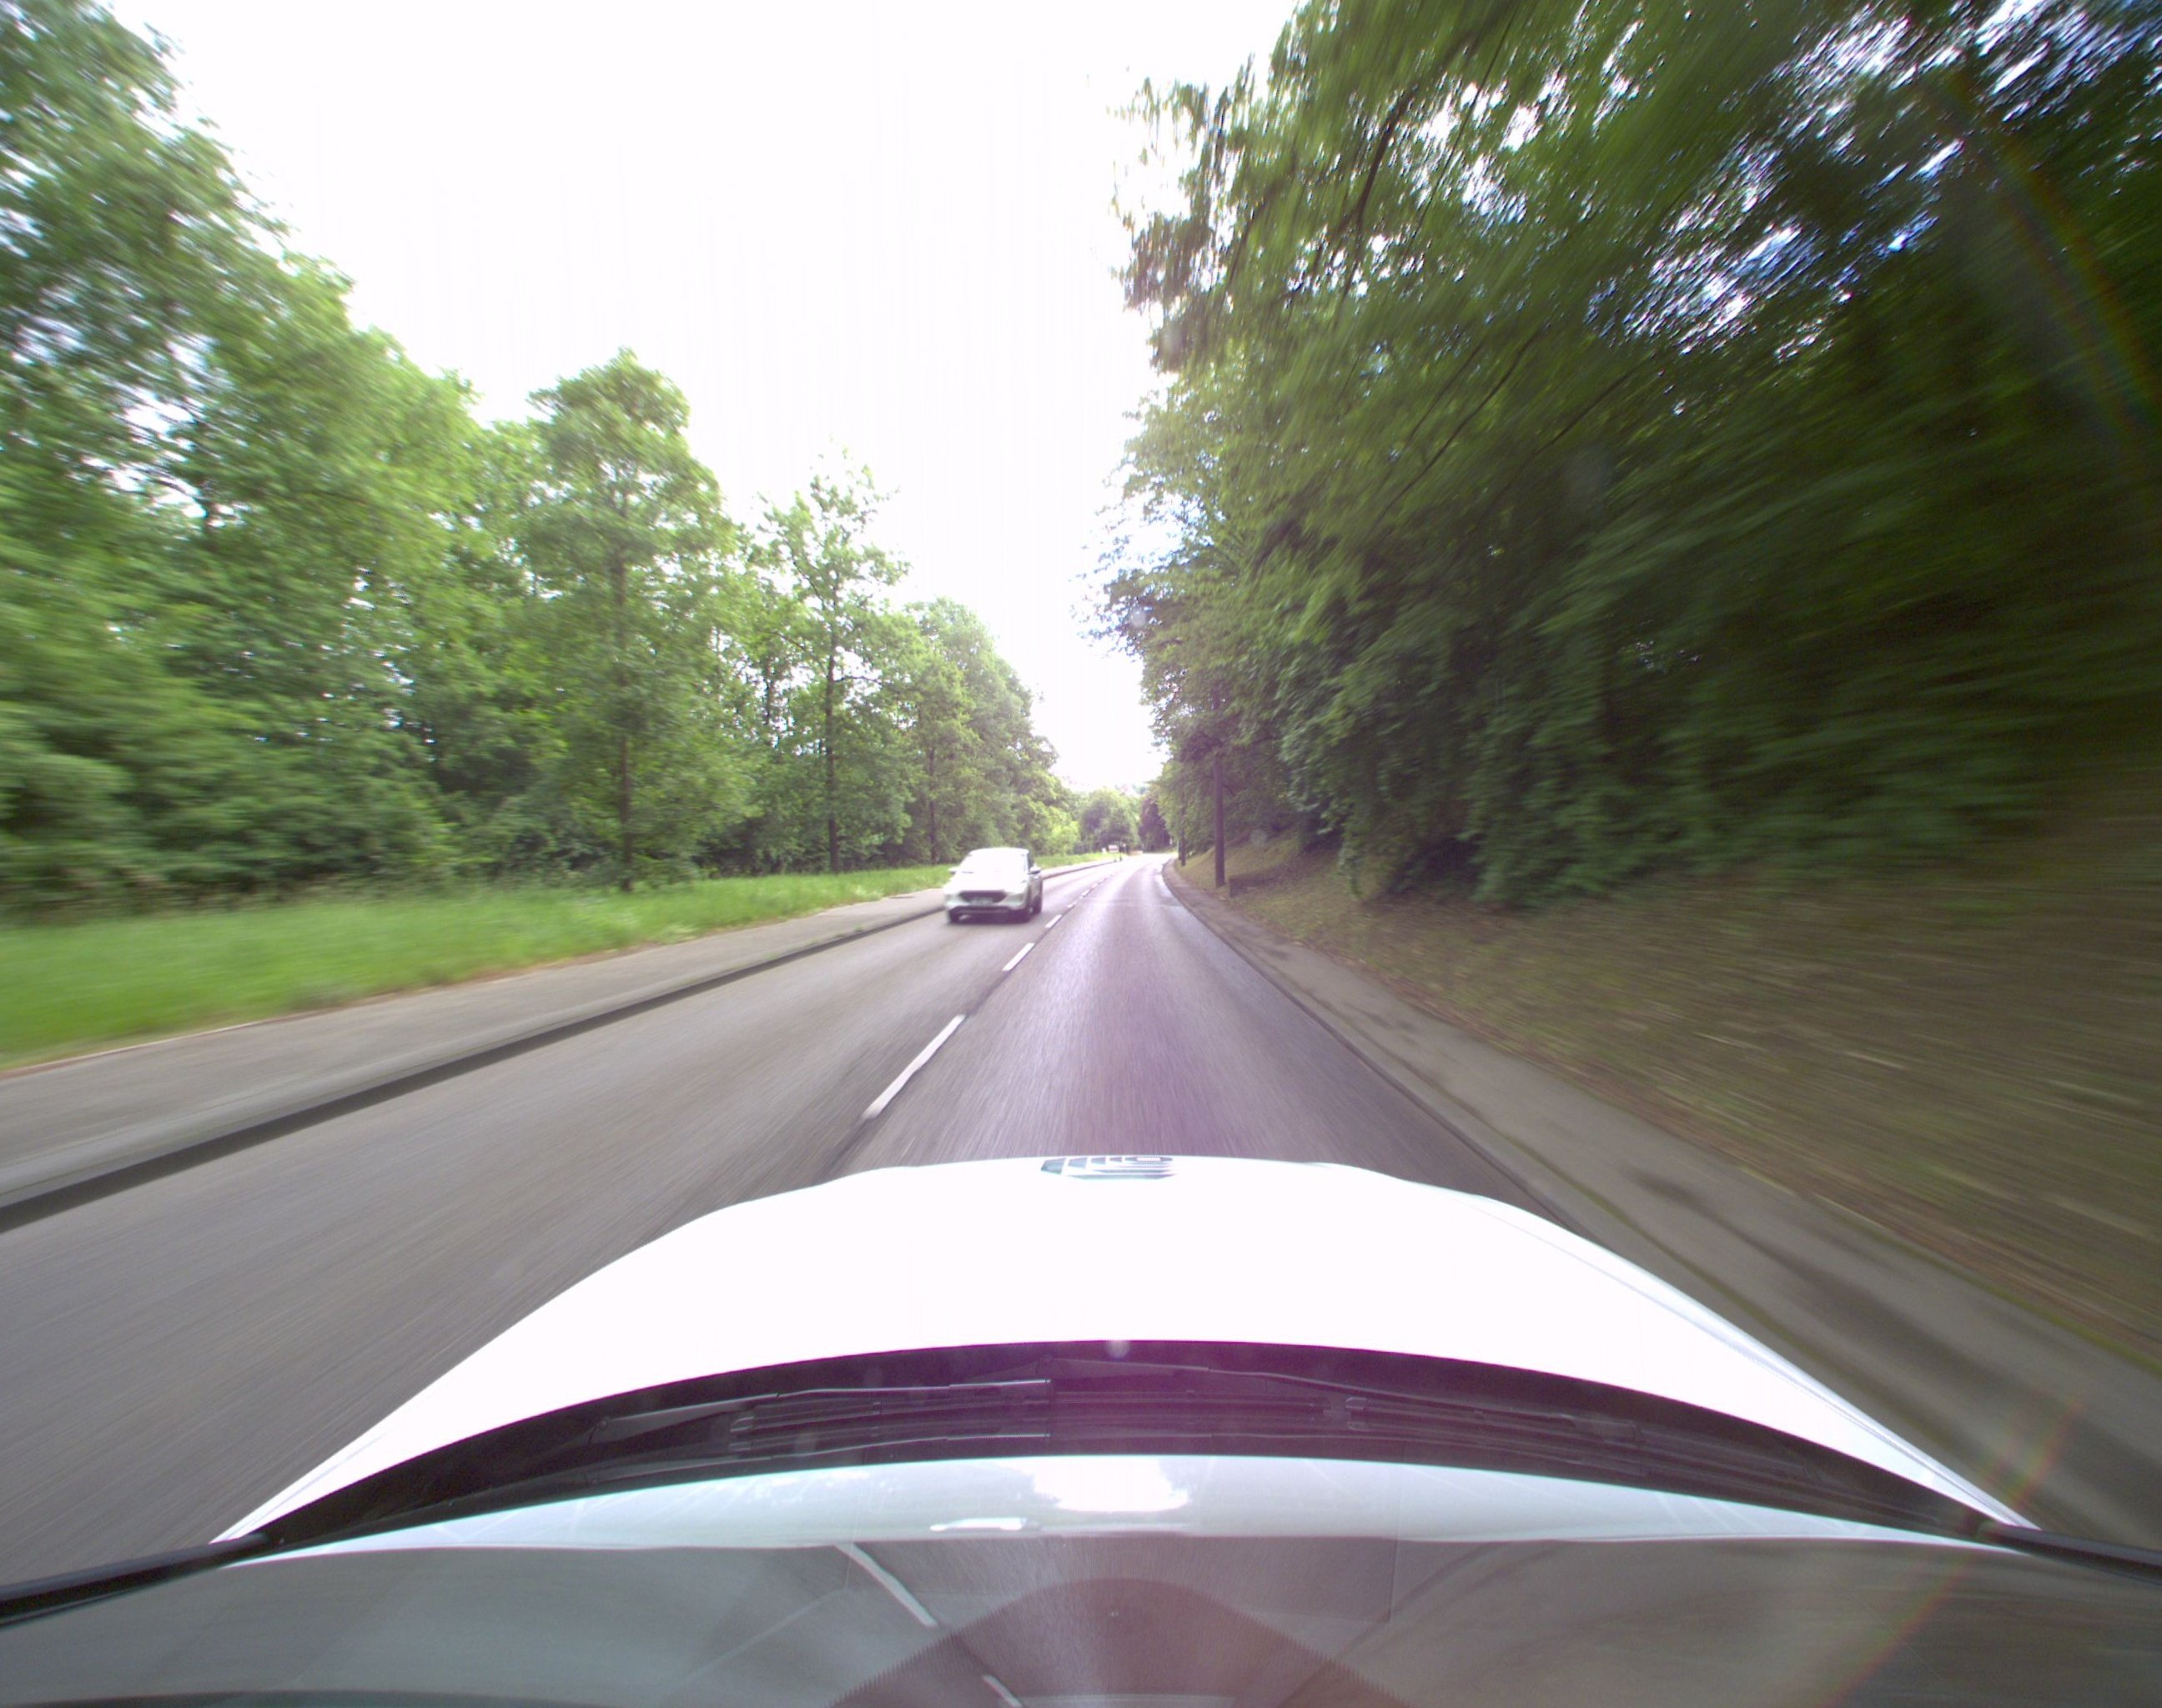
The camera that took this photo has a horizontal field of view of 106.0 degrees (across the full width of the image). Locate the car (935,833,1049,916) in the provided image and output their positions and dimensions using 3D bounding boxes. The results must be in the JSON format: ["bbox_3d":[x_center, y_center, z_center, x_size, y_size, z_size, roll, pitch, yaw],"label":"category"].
[{"bbox_3d":[-2.000,0.475,19.793,1.985,1.753,4.785,-1,-1,3],"label":"car"}]
